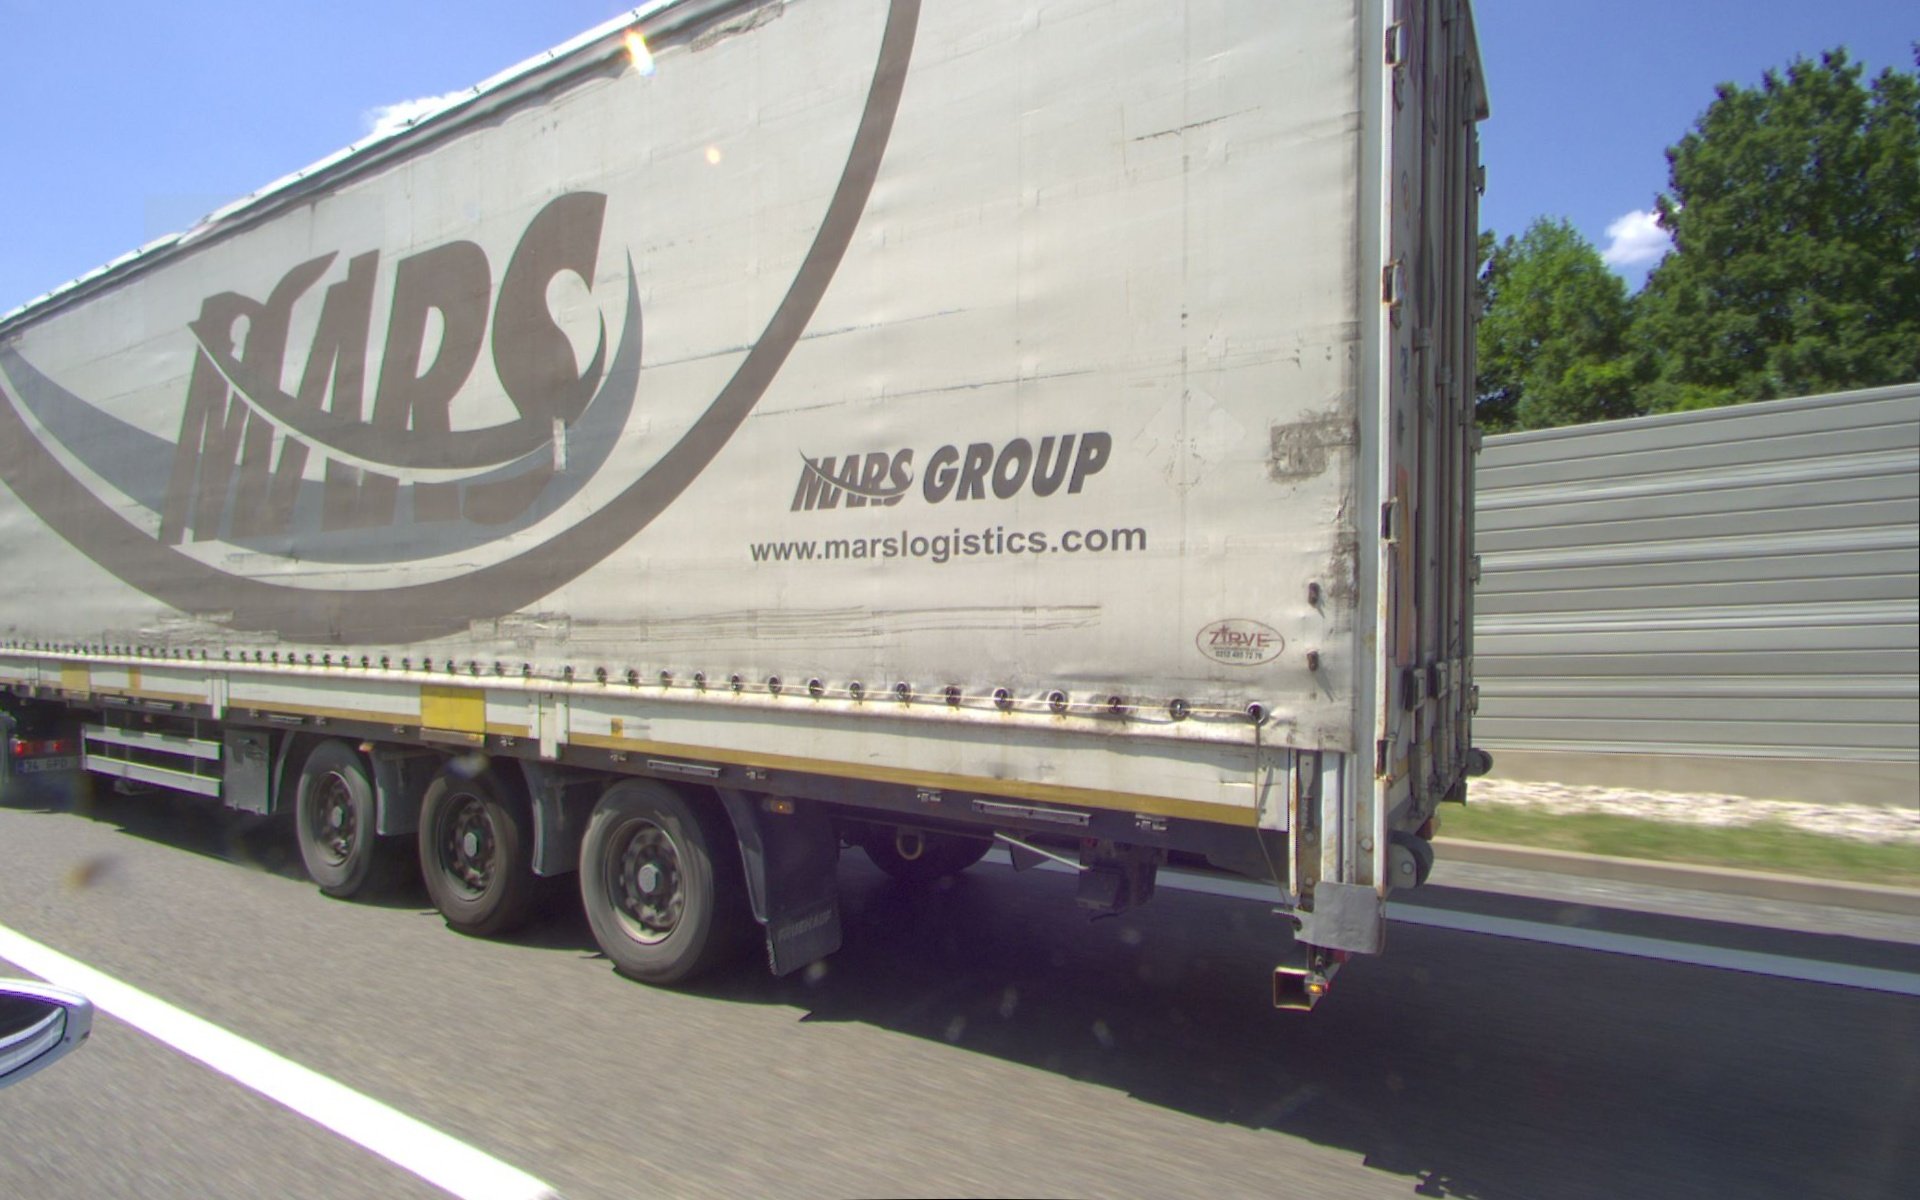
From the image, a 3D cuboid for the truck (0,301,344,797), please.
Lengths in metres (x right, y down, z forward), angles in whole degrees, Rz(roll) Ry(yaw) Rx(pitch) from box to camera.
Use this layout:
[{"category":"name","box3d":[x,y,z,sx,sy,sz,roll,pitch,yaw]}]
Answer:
[{"category":"truck","box3d":[-9.624,-0.311,10.991,5.674,4.119,2.714,-2,-2,33]}]

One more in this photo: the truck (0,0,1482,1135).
[{"category":"truck","box3d":[-3.945,-0.509,7.316,13.549,4.119,2.721,-2,-2,33]}]
